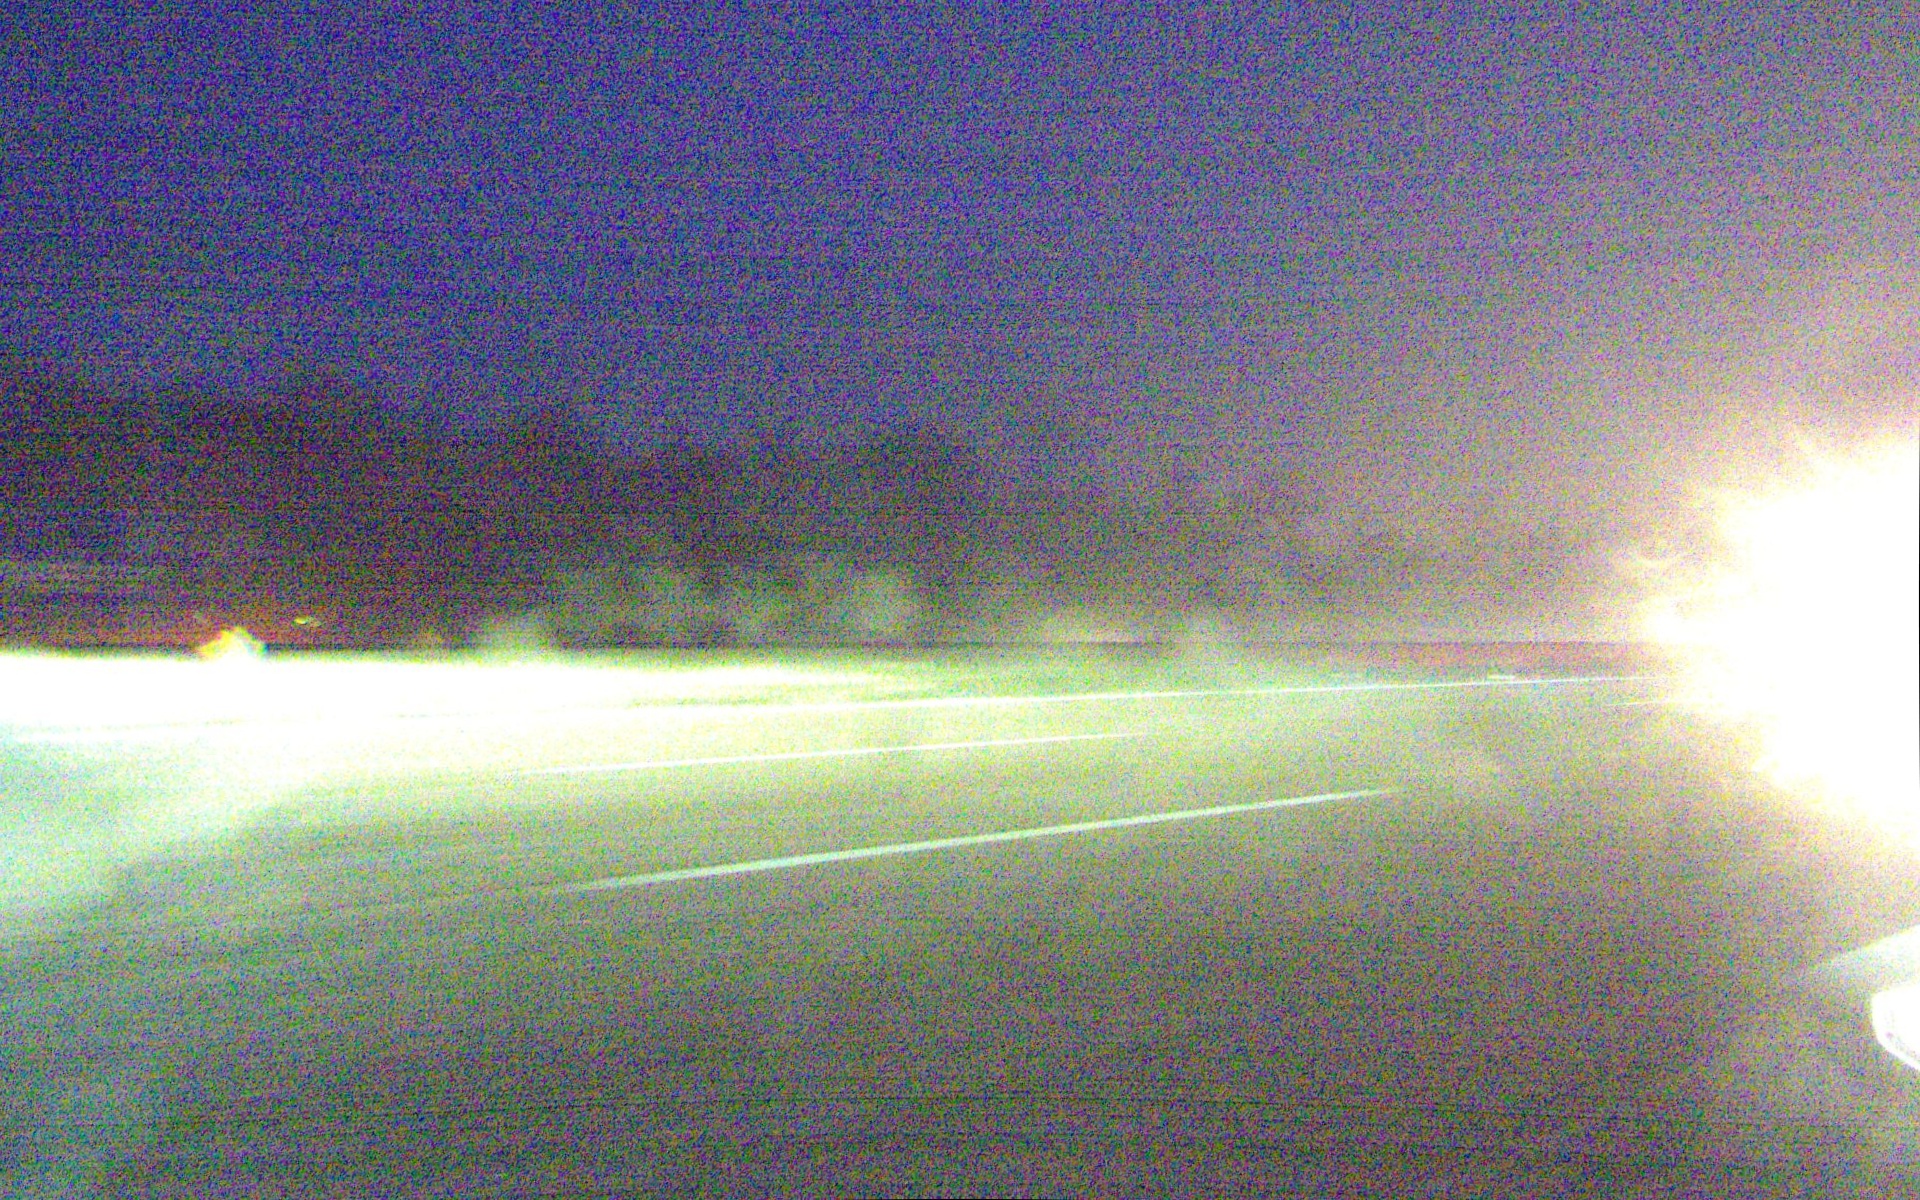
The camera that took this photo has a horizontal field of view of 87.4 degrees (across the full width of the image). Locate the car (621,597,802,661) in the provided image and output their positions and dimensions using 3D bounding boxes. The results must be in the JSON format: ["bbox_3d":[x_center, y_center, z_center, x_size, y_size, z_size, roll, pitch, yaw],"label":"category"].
[{"bbox_3d":[-6.699,0.786,27.231,4.410,1.578,1.870,2,0,-31],"label":"car"}]

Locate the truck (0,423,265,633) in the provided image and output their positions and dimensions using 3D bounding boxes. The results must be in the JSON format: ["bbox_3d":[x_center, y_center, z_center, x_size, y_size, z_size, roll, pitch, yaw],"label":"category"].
[{"bbox_3d":[-23.119,-1.544,18.159,16.978,3.940,3.483,2,0,-30],"label":"truck"}]
